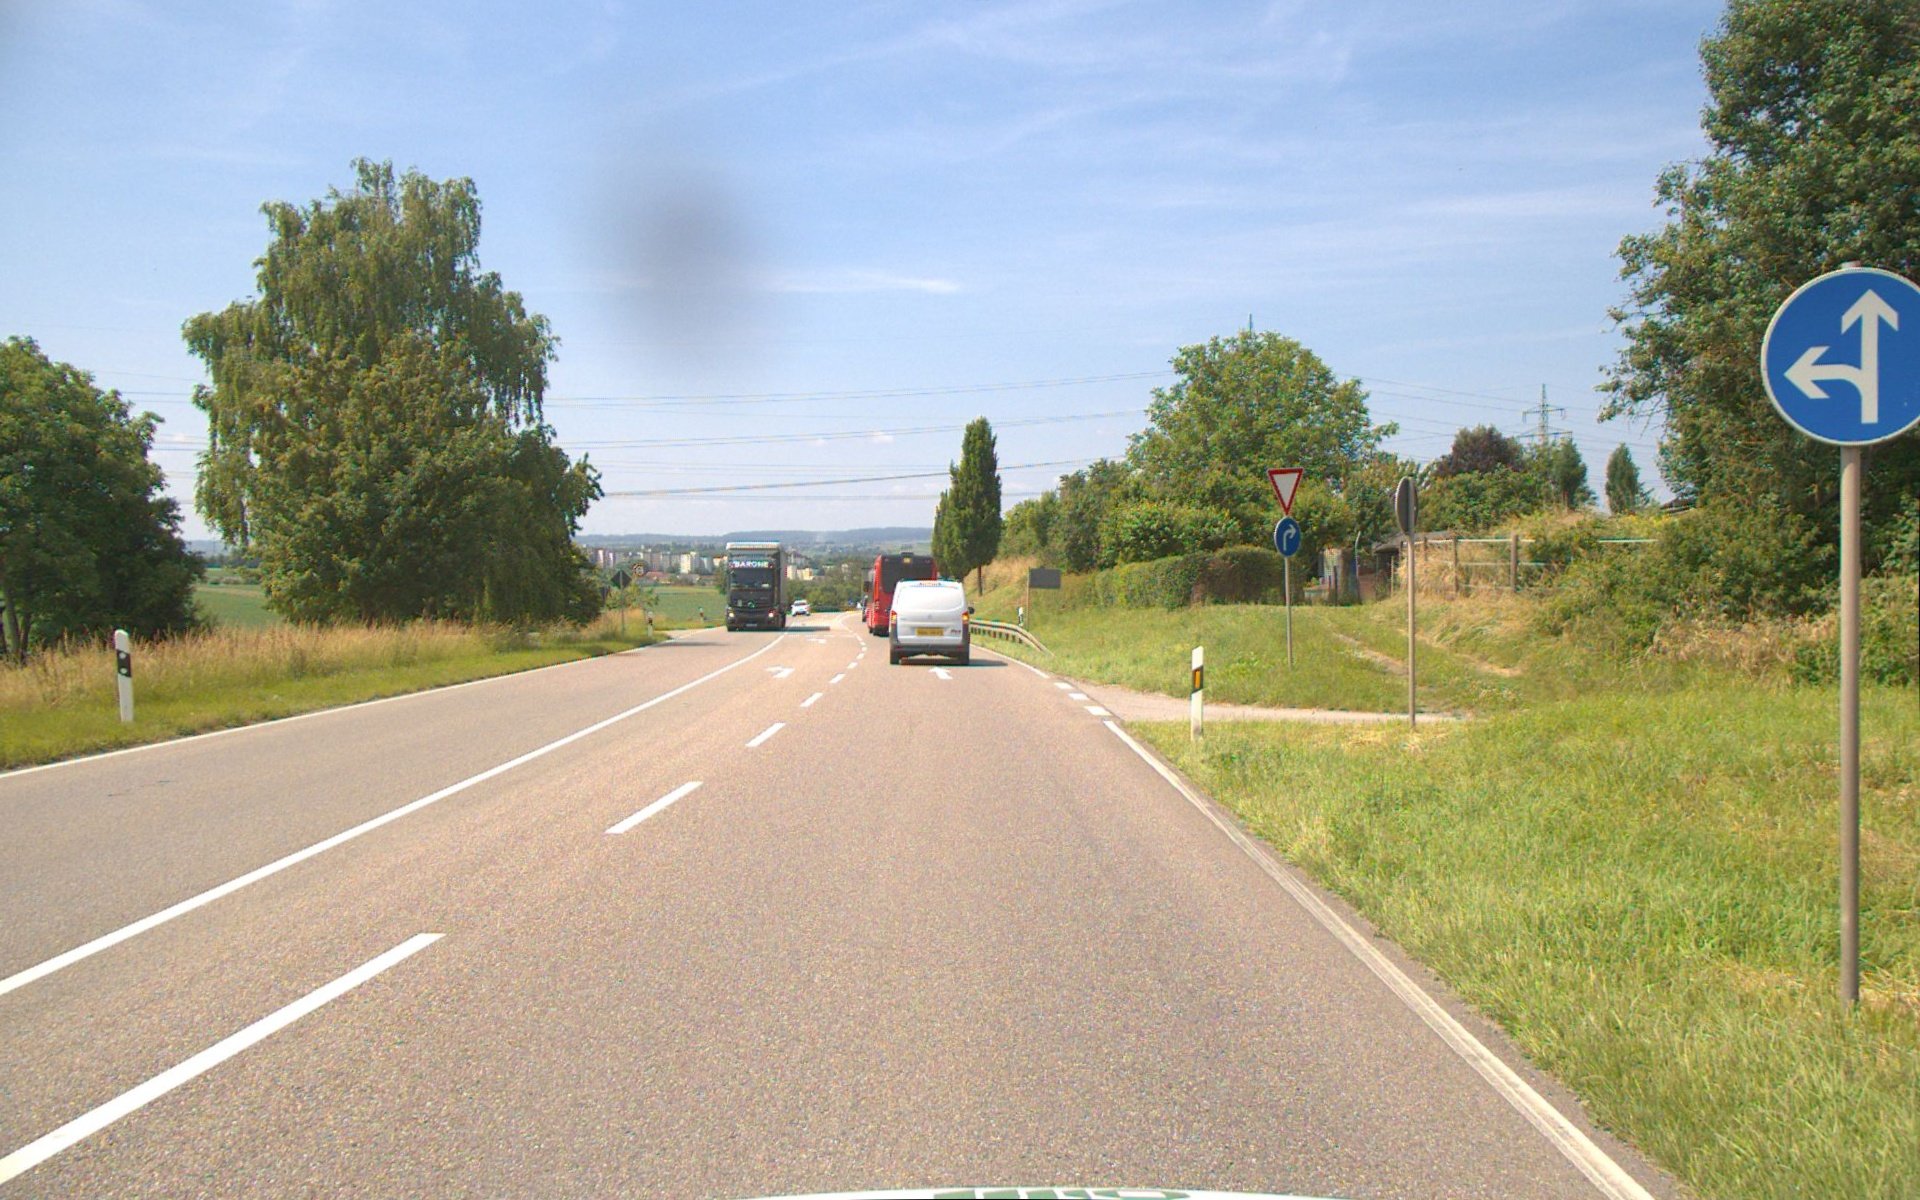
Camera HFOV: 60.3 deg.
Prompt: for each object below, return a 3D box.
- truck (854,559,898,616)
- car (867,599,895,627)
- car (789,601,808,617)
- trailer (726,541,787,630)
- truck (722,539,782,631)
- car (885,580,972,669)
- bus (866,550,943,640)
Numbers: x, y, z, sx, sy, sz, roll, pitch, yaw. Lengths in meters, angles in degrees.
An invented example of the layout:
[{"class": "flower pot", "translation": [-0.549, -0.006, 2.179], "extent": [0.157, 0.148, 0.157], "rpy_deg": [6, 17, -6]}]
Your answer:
[{"class": "truck", "translation": [-7.046, -1.039, 139.158], "extent": [3.419, 4.500, 14.894], "rpy_deg": [-2, 0, -3]}, {"class": "car", "translation": [-5.391, 0.862, 113.204], "extent": [1.847, 1.848, 3.763], "rpy_deg": [-2, 0, -2]}, {"class": "car", "translation": [-17.246, 0.988, 176.775], "extent": [1.817, 1.593, 4.072], "rpy_deg": [-2, 0, -3]}, {"class": "trailer", "translation": [-10.346, -0.689, 85.137], "extent": [2.542, 4.215, 13.726], "rpy_deg": [0, 0, -5]}, {"class": "truck", "translation": [-9.785, -0.696, 78.268], "extent": [2.534, 4.176, 5.437], "rpy_deg": [0, 0, -4]}, {"class": "car", "translation": [-0.683, 0.528, 38.917], "extent": [1.884, 1.922, 4.000], "rpy_deg": [-2, 1, 0]}, {"class": "bus", "translation": [-2.575, -0.395, 72.137], "extent": [2.693, 3.411, 13.212], "rpy_deg": [-3, 2, -4]}]
